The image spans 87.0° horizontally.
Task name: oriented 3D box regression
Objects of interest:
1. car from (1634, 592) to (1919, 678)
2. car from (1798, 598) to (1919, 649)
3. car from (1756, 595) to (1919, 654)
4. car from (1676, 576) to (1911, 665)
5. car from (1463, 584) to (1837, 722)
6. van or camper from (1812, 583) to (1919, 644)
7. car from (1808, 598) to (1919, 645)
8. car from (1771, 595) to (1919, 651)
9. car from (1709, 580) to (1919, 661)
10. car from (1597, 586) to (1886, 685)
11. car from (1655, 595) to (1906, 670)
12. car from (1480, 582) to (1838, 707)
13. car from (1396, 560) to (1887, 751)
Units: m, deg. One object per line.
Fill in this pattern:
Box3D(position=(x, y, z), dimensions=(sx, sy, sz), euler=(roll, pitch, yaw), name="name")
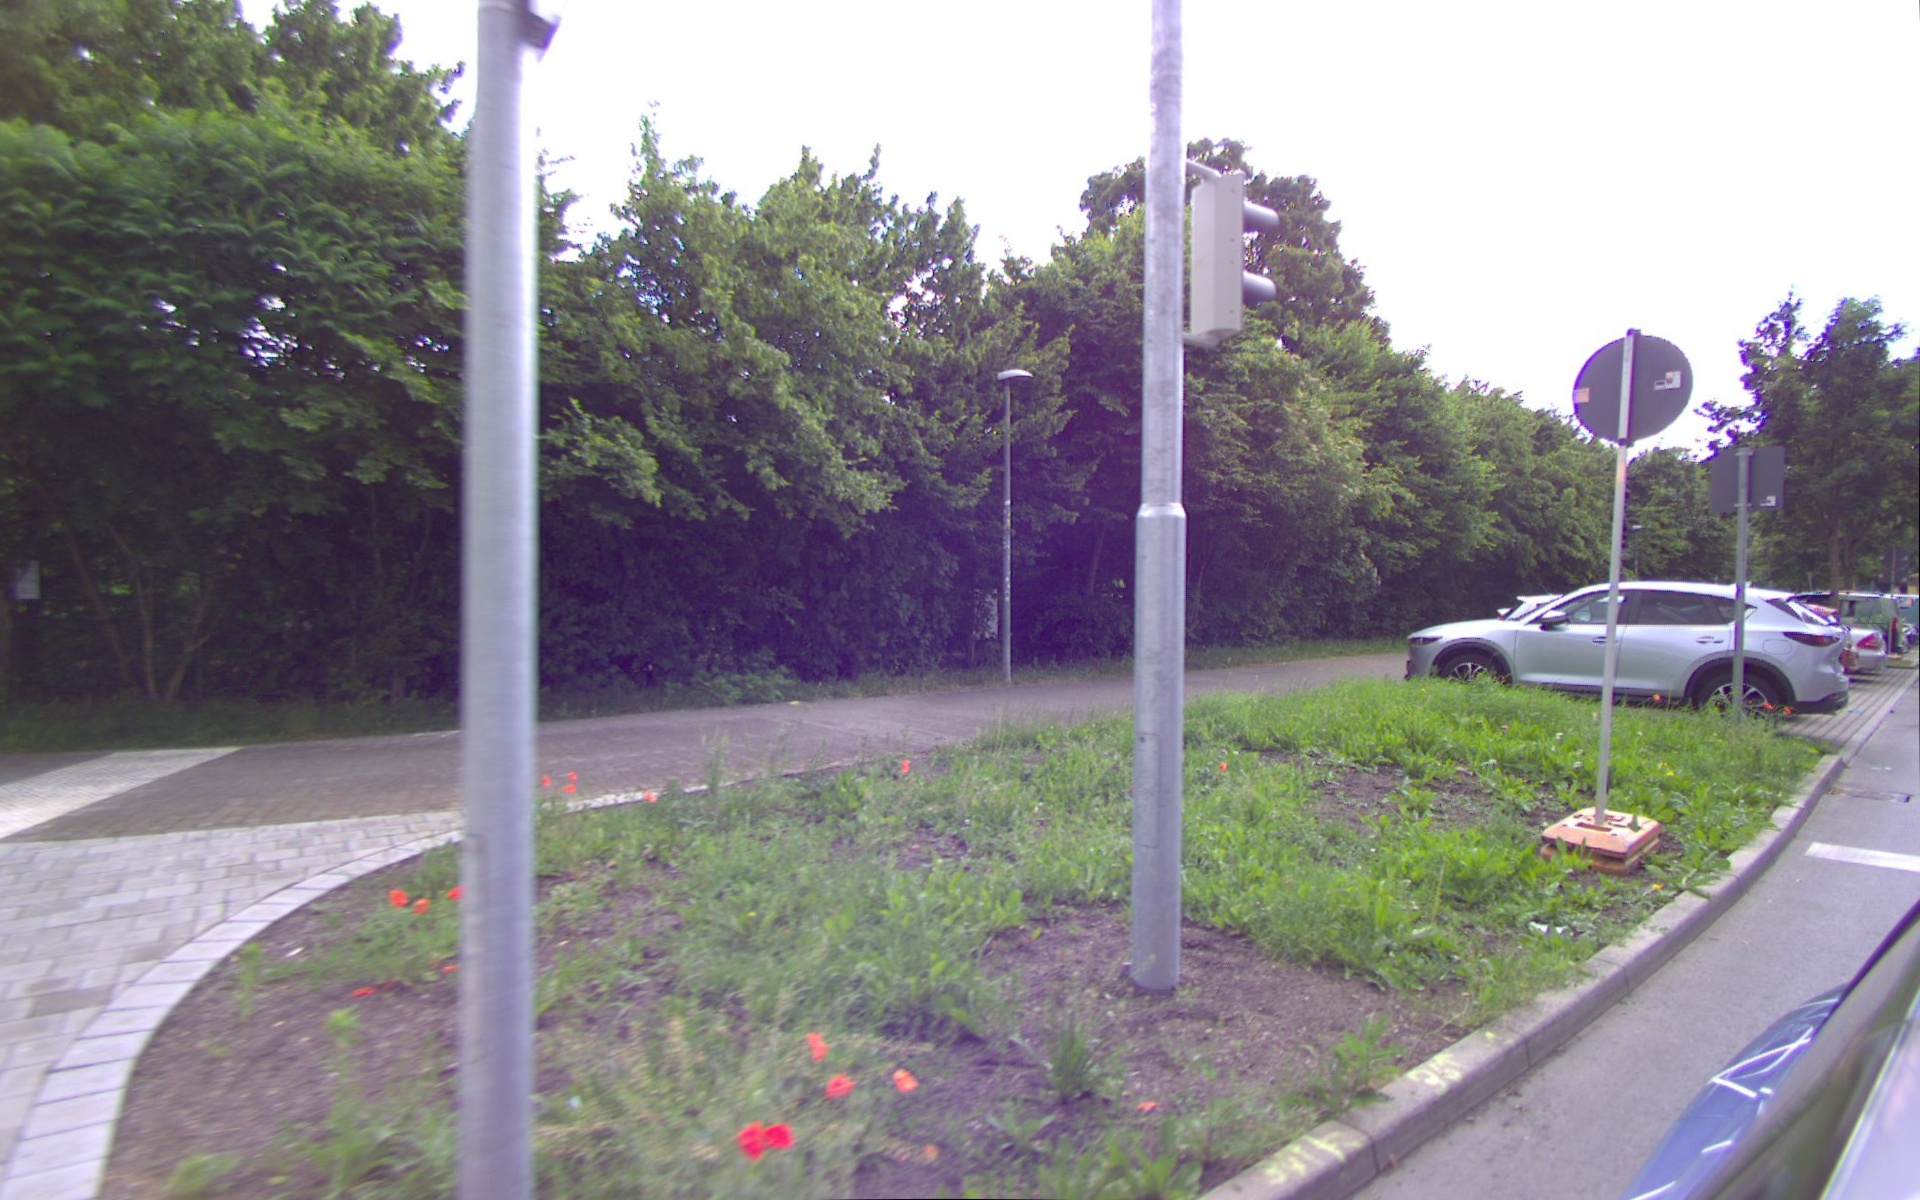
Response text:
Box3D(position=(16.791, 0.633, 20.973), dimensions=(1.912, 1.453, 4.400), euler=(1, 2, -44), name="car")
Box3D(position=(33.217, 0.841, 36.893), dimensions=(3.969, 1.754, 1.854), euler=(-1, -1, 45), name="car")
Box3D(position=(27.543, 0.755, 31.662), dimensions=(3.969, 1.754, 1.854), euler=(-1, -1, 45), name="car")
Box3D(position=(20.279, 0.418, 24.745), dimensions=(4.282, 1.916, 1.808), euler=(3, 2, 45), name="car")
Box3D(position=(9.682, 0.626, 14.429), dimensions=(4.156, 1.606, 1.767), euler=(2, 1, 45), name="car")
Box3D(position=(36.609, 0.549, 40.271), dimensions=(3.969, 2.349, 1.854), euler=(-1, -1, 45), name="van or camper")
Box3D(position=(35.034, 0.793, 38.635), dimensions=(3.970, 1.622, 2.073), euler=(1, 3, 44), name="car")
Box3D(position=(29.476, 0.759, 33.468), dimensions=(3.969, 1.754, 1.854), euler=(-1, -1, 45), name="car")
Box3D(position=(24.059, 0.500, 28.473), dimensions=(4.553, 1.922, 1.854), euler=(4, 3, 45), name="car")
Box3D(position=(14.926, 0.596, 19.518), dimensions=(1.648, 1.611, 4.155), euler=(1, 1, -42), name="car")
Box3D(position=(18.610, 0.665, 23.080), dimensions=(4.282, 1.427, 1.808), euler=(3, 2, 45), name="car")
Box3D(position=(11.111, 0.588, 16.319), dimensions=(4.480, 1.581, 1.881), euler=(4, 2, 45), name="car")
Box3D(position=(8.088, 0.491, 12.345), dimensions=(4.648, 1.773, 2.038), euler=(4, 2, 43), name="car")
